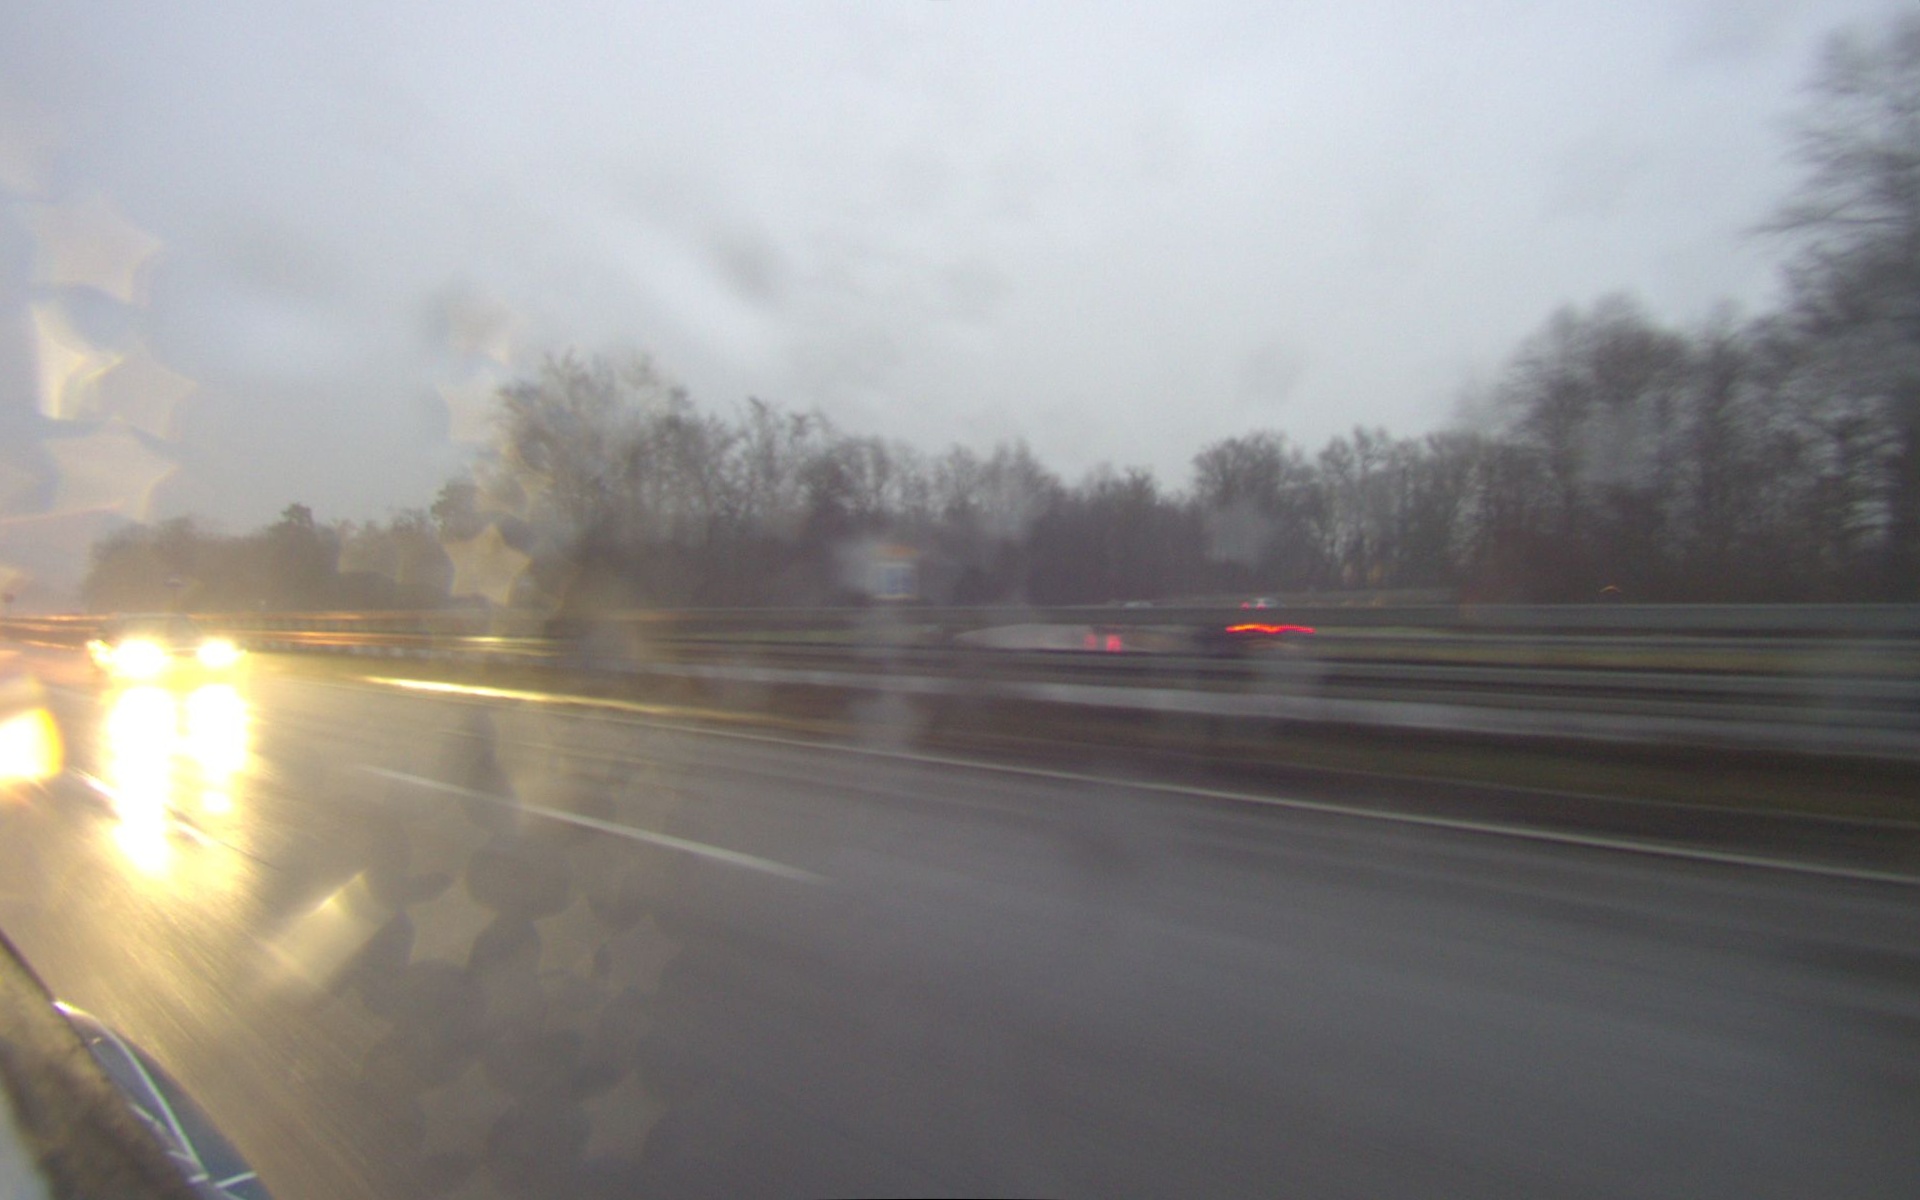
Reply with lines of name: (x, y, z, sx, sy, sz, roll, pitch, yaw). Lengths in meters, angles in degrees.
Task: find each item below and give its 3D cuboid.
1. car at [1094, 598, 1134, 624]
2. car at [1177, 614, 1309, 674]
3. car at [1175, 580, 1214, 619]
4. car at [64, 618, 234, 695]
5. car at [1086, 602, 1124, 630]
car: (11.692, 0.792, 76.681, 1.740, 1.829, 3.963, -1, 1, 27)
car: (8.075, 1.203, 29.281, 1.719, 1.498, 4.012, -1, 0, -17)
car: (19.660, -0.045, 84.771, 1.992, 2.021, 3.974, -4, 17, 30)
car: (-17.701, 1.167, 22.025, 4.404, 1.479, 1.782, -1, 0, 36)
car: (8.638, 0.931, 59.964, 1.733, 1.498, 3.980, -2, 1, 16)
